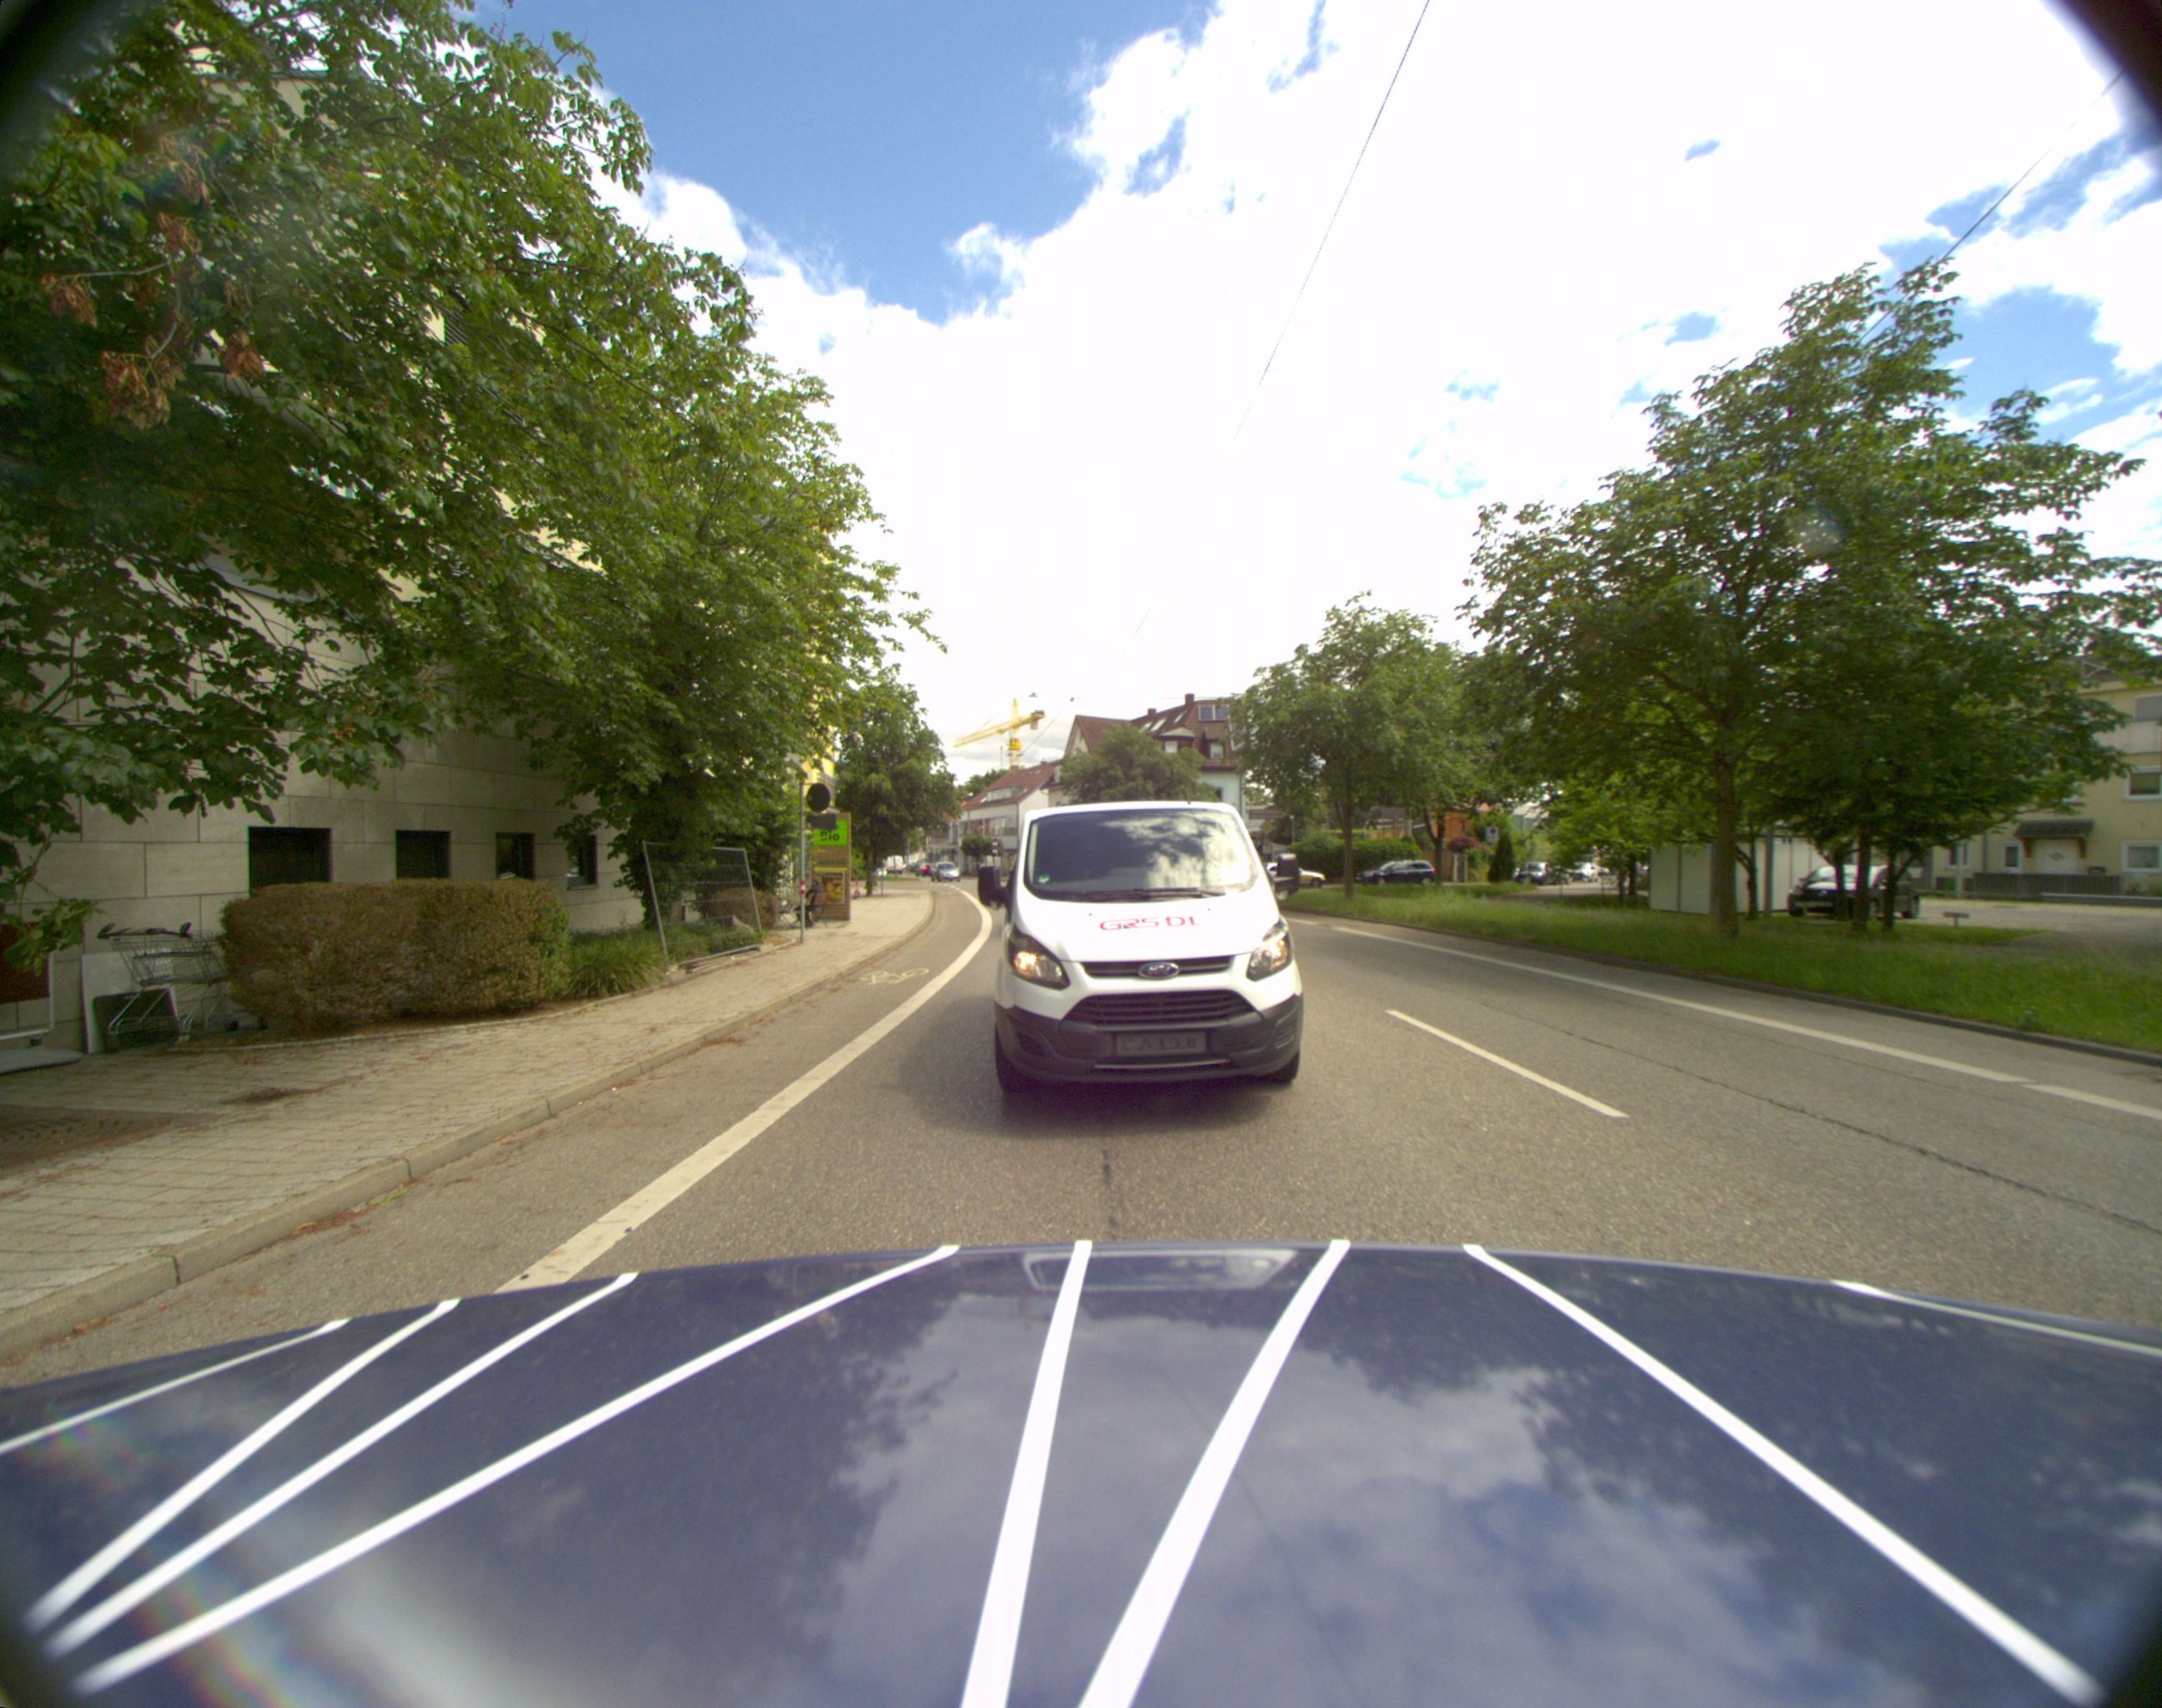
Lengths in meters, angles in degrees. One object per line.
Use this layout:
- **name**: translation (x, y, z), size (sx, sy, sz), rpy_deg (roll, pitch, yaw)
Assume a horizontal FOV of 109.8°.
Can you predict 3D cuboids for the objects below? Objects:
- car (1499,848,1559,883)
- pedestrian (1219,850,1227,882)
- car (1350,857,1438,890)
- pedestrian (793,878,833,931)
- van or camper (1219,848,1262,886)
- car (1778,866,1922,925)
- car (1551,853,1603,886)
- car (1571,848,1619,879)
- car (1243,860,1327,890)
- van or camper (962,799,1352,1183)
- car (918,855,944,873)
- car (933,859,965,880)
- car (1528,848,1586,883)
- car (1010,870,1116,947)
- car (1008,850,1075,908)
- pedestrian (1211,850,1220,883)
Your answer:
- **car**: translation (27.003, 0.685, 45.769), size (4.008, 2.002, 1.976), rpy_deg (0, 0, -41)
- **pedestrian**: translation (8.709, 0.740, 46.612), size (0.383, 1.979, 0.443), rpy_deg (-2, 1, 0)
- **car**: translation (16.650, 1.024, 40.476), size (3.976, 1.672, 1.717), rpy_deg (0, 1, -3)
- **pedestrian**: translation (-6.767, 1.268, 19.226), size (0.731, 1.293, 0.754), rpy_deg (0, 0, 0)
- **van or camper**: translation (9.276, 0.720, 44.536), size (1.793, 2.077, 3.811), rpy_deg (-2, 1, 2)
- **car**: translation (20.959, 1.058, 20.688), size (4.006, 1.411, 1.789), rpy_deg (0, 0, -30)
- **car**: translation (33.506, 1.014, 51.273), size (4.007, 2.002, 1.994), rpy_deg (-3, 1, -44)
- **car**: translation (36.860, 0.662, 54.430), size (4.007, 2.002, 1.893), rpy_deg (-3, 1, -42)
- **car**: translation (10.834, 1.093, 40.382), size (4.046, 1.314, 1.534), rpy_deg (-3, 1, -13)
- **van or camper**: translation (0.440, 0.719, 6.517), size (2.027, 2.002, 5.103), rpy_deg (0, 0, 1)
- **car**: translation (-15.826, 1.038, 80.203), size (1.744, 1.840, 3.991), rpy_deg (0, 0, -26)
- **car**: translation (-10.206, 1.160, 58.428), size (1.696, 1.477, 3.993), rpy_deg (-3, 1, -20)
- **car**: translation (30.339, 0.702, 48.381), size (4.007, 2.002, 1.995), rpy_deg (-3, 1, -41)
- **car**: translation (-0.525, 1.086, 16.670), size (1.841, 1.382, 3.997), rpy_deg (0, 0, -9)
- **car**: translation (-1.472, 0.801, 26.854), size (1.853, 1.805, 3.996), rpy_deg (-3, 1, -9)
- **pedestrian**: translation (8.246, 0.768, 46.686), size (0.425, 2.002, 0.363), rpy_deg (-2, 1, 1)
